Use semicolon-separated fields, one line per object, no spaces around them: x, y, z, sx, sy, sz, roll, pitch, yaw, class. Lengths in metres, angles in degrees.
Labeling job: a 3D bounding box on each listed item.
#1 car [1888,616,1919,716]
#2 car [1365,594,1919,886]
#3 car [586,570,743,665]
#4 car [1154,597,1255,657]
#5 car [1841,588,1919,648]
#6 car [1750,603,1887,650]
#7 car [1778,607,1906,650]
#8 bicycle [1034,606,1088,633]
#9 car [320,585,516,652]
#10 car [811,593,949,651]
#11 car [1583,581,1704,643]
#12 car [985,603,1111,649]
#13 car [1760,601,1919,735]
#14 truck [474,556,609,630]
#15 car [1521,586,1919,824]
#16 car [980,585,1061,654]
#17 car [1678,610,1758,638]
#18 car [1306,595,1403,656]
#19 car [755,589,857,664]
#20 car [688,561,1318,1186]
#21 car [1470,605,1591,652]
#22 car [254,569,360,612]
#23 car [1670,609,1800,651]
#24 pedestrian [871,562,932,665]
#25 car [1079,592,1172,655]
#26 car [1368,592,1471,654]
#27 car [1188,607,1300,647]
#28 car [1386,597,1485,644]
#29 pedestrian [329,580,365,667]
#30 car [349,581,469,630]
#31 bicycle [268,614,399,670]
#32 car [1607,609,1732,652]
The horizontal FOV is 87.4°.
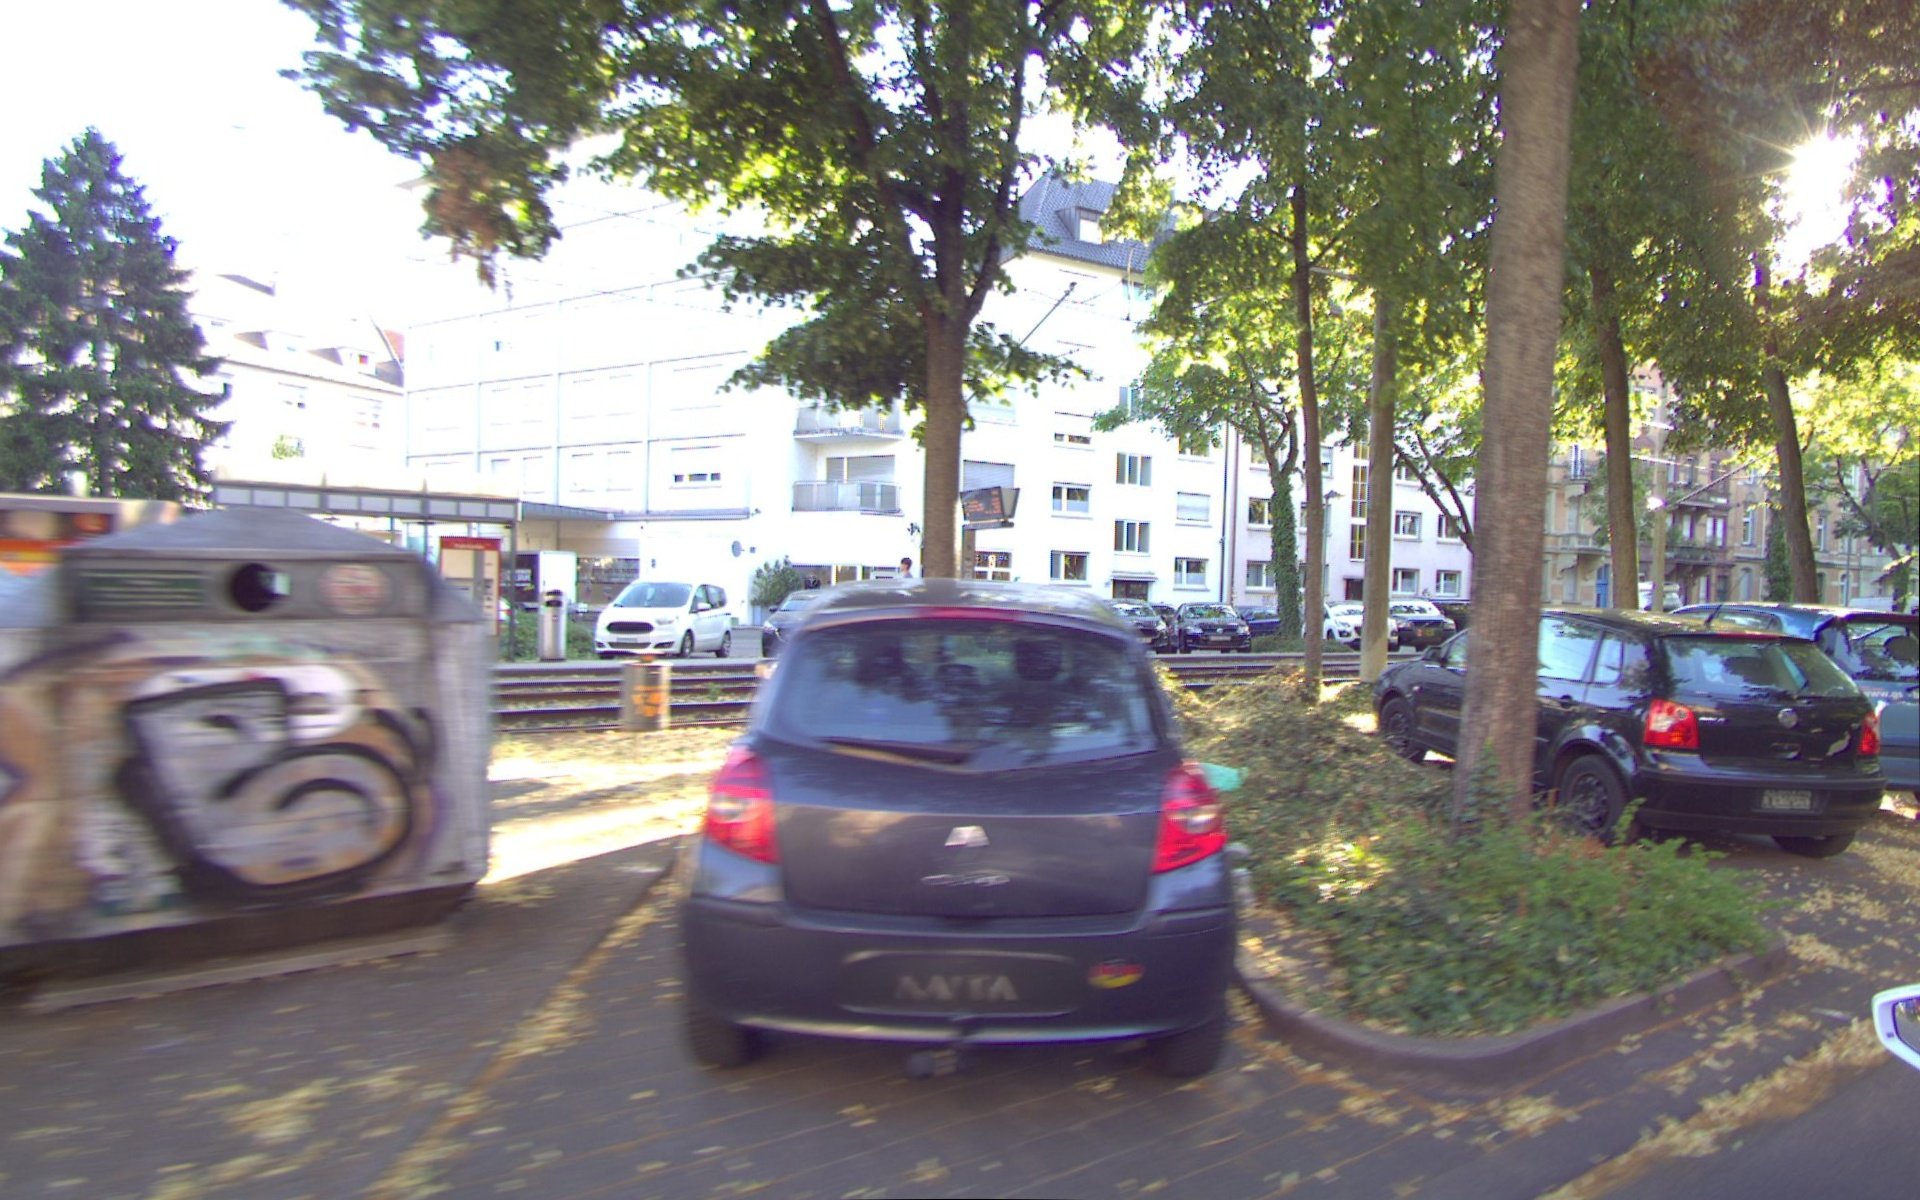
14.787;1.085;12.992;1.705;1.410;3.824;3;3;-7;car
4.626;0.790;7.460;1.576;1.467;3.616;1;3;-3;car
-5.722;0.429;20.014;1.575;1.674;4.245;-1;-3;5;car
6.485;0.780;27.086;1.576;1.477;4.242;0;-3;-2;car
43.290;0.857;45.467;2.228;2.605;5.272;0;-3;2;car
33.713;1.085;39.612;1.821;1.721;4.244;0;-3;2;car
37.723;1.284;43.129;1.821;1.721;4.244;0;-3;2;car
4.027;0.778;39.939;2.147;1.016;0.529;1;1;-26;bicycle
-12.793;0.440;23.830;3.955;1.465;1.702;1;0;-31;car
-2.464;0.667;31.183;3.951;1.695;1.703;1;0;-29;car
33.992;0.597;49.952;5.405;2.926;2.546;1;0;-24;car
2.976;0.871;34.099;3.944;1.465;1.706;1;0;-24;car
12.499;0.916;12.484;1.705;1.517;3.824;3;3;-7;car
-15.435;-0.295;36.970;4.883;2.568;1.996;1;1;30;truck
6.993;0.755;9.129;1.576;1.584;3.616;1;3;-2;car
1.392;0.542;24.391;1.576;1.527;4.242;0;-3;-2;car
40.240;1.257;53.330;3.944;1.465;1.706;1;0;-24;car
11.656;0.833;29.956;1.820;1.673;4.245;-1;-3;10;car
-3.236;0.633;21.816;1.667;1.455;4.207;0;-3;-1;car
0.019;0.649;4.433;1.576;1.541;3.733;1;3;-3;car
19.530;1.018;34.627;1.821;1.492;4.244;0;-3;2;car
-25.085;-0.361;38.570;3.932;1.553;1.995;1;1;33;car
29.772;1.186;38.774;1.821;1.492;4.244;0;-3;2;car
-1.129;0.254;19.304;0.829;1.936;0.843;1;1;-33;pedestrian
4.165;0.669;25.884;1.576;1.477;4.242;0;-3;-2;car
14.082;0.774;31.026;1.820;1.771;4.245;-1;-3;10;car
10.789;1.016;38.174;3.944;1.465;1.706;1;0;-24;car
20.420;0.885;43.100;3.944;1.958;1.706;1;0;-24;car
-9.450;0.363;15.487;0.447;1.319;0.335;1;1;-29;pedestrian
-18.864;0.170;34.377;3.932;1.553;1.995;1;1;33;car
-9.353;0.618;15.048;1.622;0.794;0.447;1;1;-29;bicycle
26.932;1.204;38.305;1.821;1.492;4.244;0;-3;2;car
